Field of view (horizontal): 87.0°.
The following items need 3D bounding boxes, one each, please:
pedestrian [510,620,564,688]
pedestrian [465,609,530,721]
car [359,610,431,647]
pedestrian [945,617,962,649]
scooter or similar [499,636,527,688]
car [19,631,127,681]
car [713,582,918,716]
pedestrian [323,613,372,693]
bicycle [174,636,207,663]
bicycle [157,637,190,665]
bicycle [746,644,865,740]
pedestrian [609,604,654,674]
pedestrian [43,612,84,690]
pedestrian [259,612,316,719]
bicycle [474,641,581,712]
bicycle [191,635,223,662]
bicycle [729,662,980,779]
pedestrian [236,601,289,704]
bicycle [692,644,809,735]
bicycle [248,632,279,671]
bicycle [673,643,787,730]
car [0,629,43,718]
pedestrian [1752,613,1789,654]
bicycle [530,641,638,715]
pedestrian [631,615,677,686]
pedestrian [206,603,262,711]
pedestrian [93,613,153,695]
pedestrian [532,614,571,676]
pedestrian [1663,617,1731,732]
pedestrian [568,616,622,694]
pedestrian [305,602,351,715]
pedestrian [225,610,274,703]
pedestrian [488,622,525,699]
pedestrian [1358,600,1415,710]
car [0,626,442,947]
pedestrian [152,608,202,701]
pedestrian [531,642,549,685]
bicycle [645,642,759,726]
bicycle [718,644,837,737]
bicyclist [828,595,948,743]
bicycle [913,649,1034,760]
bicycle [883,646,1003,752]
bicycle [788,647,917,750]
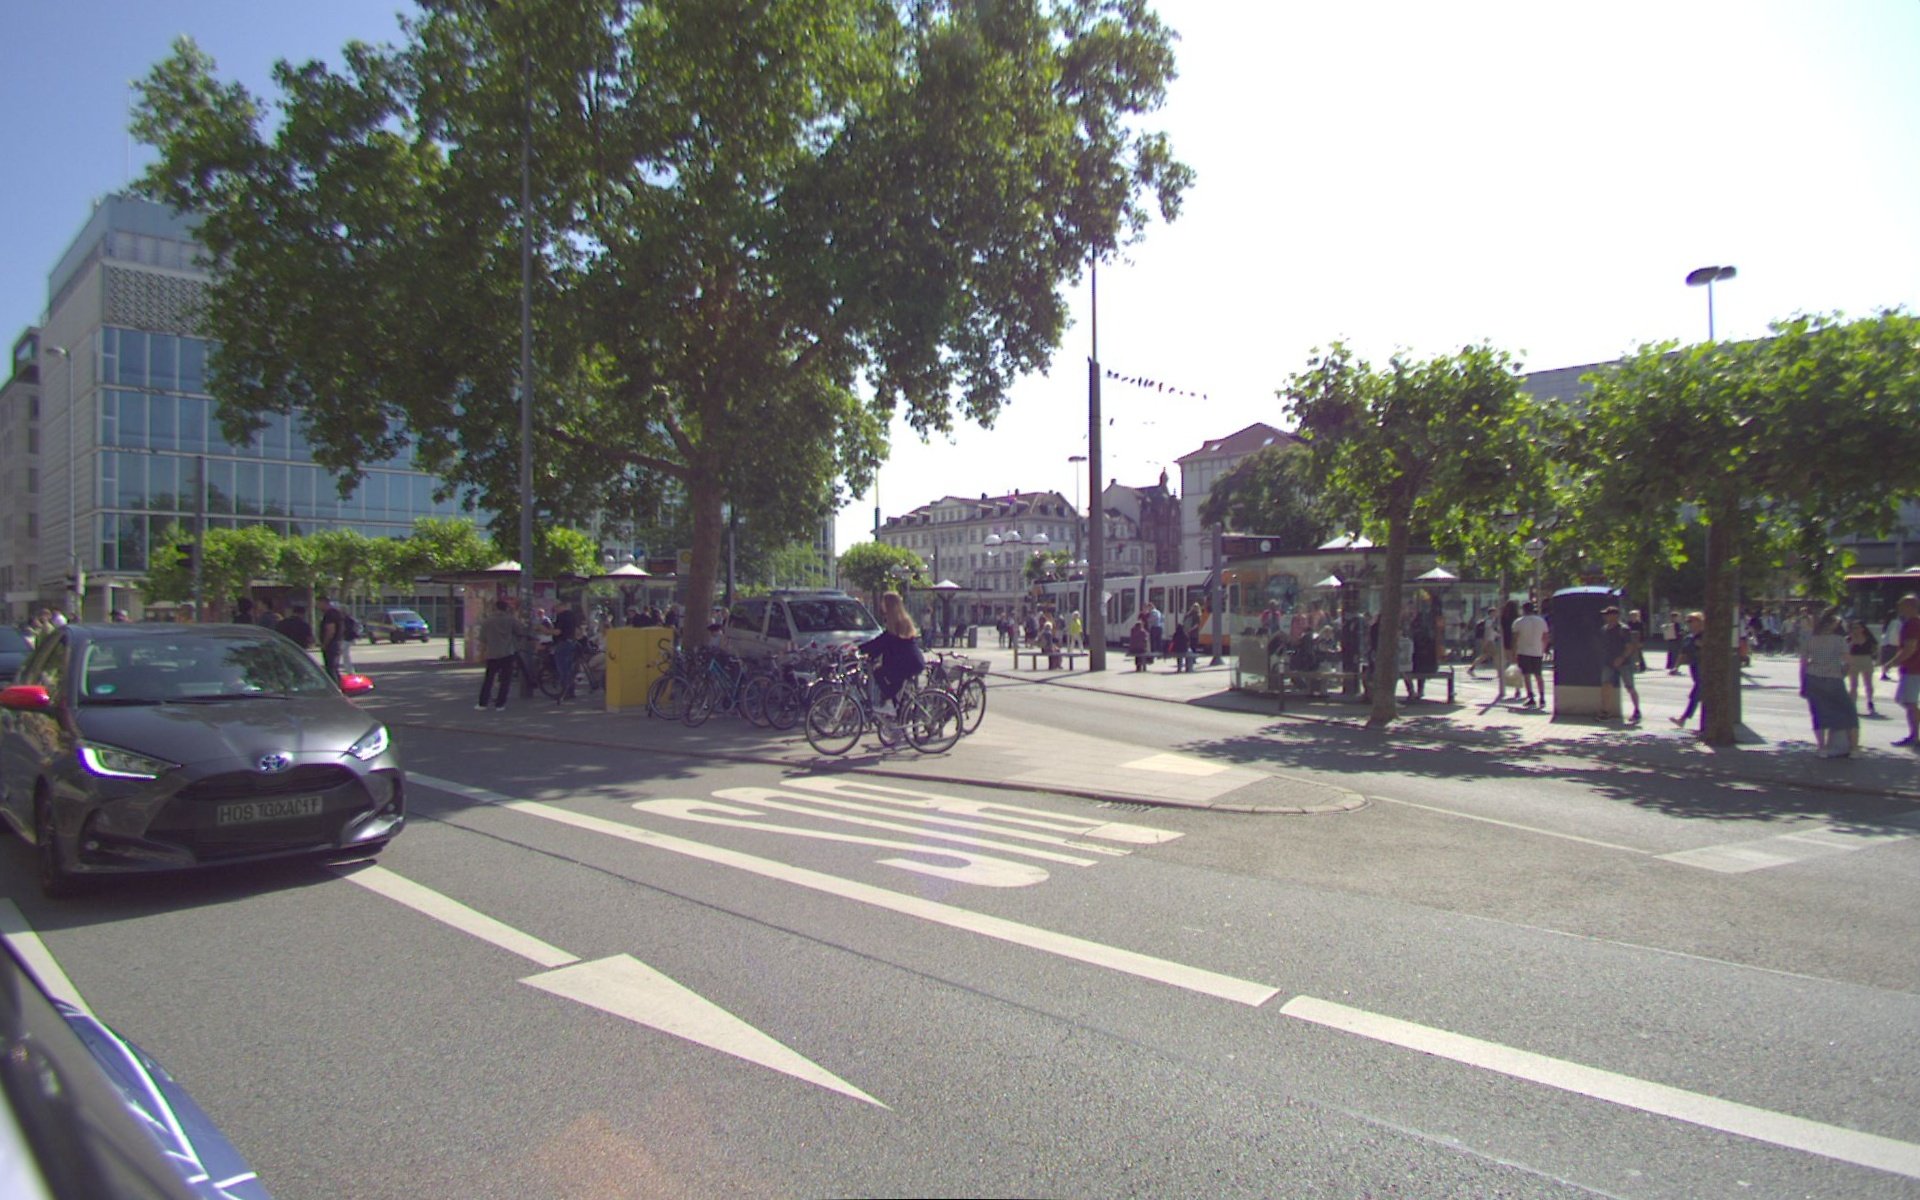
[{"bbox_3d":[-9.301,1.173,22.274,0.780,1.418,0.744,-1,0,30],"label":"pedestrian"},{"bbox_3d":[-7.285,1.007,15.953,0.639,1.704,0.637,-1,0,27],"label":"pedestrian"},{"bbox_3d":[-32.404,1.615,58.054,3.989,2.029,1.978,-1,0,34],"label":"car"},{"bbox_3d":[-0.313,1.545,47.205,0.547,1.483,0.532,-2,0,-42],"label":"pedestrian"},{"bbox_3d":[-10.323,1.420,23.365,0.559,1.128,0.540,-2,0,-23],"label":"scooter or similar"},{"bbox_3d":[-41.088,2.544,47.005,1.968,2.029,4.008,-2,0,-10],"label":"car"},{"bbox_3d":[-2.795,0.761,18.319,1.966,2.029,5.083,-2,0,-29],"label":"car"},{"bbox_3d":[-13.936,1.183,23.022,0.666,1.760,0.742,-1,0,39],"label":"pedestrian"},{"bbox_3d":[-33.519,2.156,44.073,1.753,1.156,0.586,-1,-1,33],"label":"bicycle"},{"bbox_3d":[-33.855,2.180,43.567,1.753,1.156,0.586,-1,-1,33],"label":"bicycle"},{"bbox_3d":[-2.061,1.207,13.705,0.482,1.156,1.736,-1,-1,38],"label":"bicycle"},{"bbox_3d":[-8.517,1.005,26.247,0.780,1.760,0.744,-1,0,30],"label":"pedestrian"},{"bbox_3d":[-22.832,1.295,25.781,0.732,1.928,0.631,-1,0,39],"label":"pedestrian"},{"bbox_3d":[-10.923,1.044,16.457,0.620,1.661,0.754,-2,0,-24],"label":"pedestrian"},{"bbox_3d":[-7.672,1.329,18.015,0.482,1.156,1.736,-1,-1,38],"label":"bicycle"},{"bbox_3d":[-33.191,2.119,44.608,1.753,1.156,0.586,-1,-1,33],"label":"bicycle"},{"bbox_3d":[-1.158,1.265,10.968,2.582,1.030,0.834,-2,0,-14],"label":"bicycle"},{"bbox_3d":[-12.898,0.958,18.708,0.738,1.860,0.587,-1,-2,39],"label":"pedestrian"},{"bbox_3d":[-2.955,1.240,14.449,0.482,1.156,1.736,-1,-1,38],"label":"bicycle"},{"bbox_3d":[-22.253,1.624,32.319,0.718,1.152,1.917,-2,0,-36],"label":"bicycle"},{"bbox_3d":[-3.359,1.234,14.915,0.482,1.156,1.736,-1,-1,38],"label":"bicycle"},{"bbox_3d":[-17.153,1.221,17.352,3.998,1.415,1.677,-1,-1,41],"label":"car"},{"bbox_3d":[31.503,1.316,39.350,0.840,1.561,0.677,0,-4,14],"label":"pedestrian"},{"bbox_3d":[-6.371,1.298,17.225,0.482,1.156,1.736,-1,-1,38],"label":"bicycle"},{"bbox_3d":[-7.761,1.270,25.706,0.780,1.760,0.744,-1,0,30],"label":"pedestrian"},{"bbox_3d":[-12.524,0.967,17.474,0.529,1.796,0.745,-2,0,-15],"label":"pedestrian"},{"bbox_3d":[-18.666,1.193,22.576,0.732,1.760,0.866,-1,0,39],"label":"pedestrian"},{"bbox_3d":[-11.980,1.304,29.659,0.782,1.760,0.742,-1,0,39],"label":"pedestrian"},{"bbox_3d":[10.262,1.027,14.096,0.680,1.536,0.616,-2,-5,40],"label":"pedestrian"},{"bbox_3d":[-7.843,1.163,21.745,0.780,1.608,0.744,-1,0,30],"label":"pedestrian"},{"bbox_3d":[-10.653,0.967,17.056,0.510,1.849,0.716,-2,0,-42],"label":"pedestrian"},{"bbox_3d":[-13.471,1.058,19.195,0.606,1.728,0.597,-1,-2,39],"label":"pedestrian"},{"bbox_3d":[-10.756,1.412,24.016,0.739,1.760,0.785,-2,0,-23],"label":"pedestrian"},{"bbox_3d":[7.223,0.931,17.162,0.671,1.808,0.625,1,-4,-2],"label":"pedestrian"},{"bbox_3d":[-5.227,0.925,6.697,3.996,1.486,1.759,-1,-2,40],"label":"car"},{"bbox_3d":[-15.228,1.046,19.681,0.752,1.760,0.605,-1,-1,39],"label":"pedestrian"},{"bbox_3d":[-9.777,1.482,23.565,0.334,0.974,0.282,-2,0,-19],"label":"pedestrian"},{"bbox_3d":[-3.886,1.243,15.364,0.482,1.156,1.736,-1,-1,38],"label":"bicycle"},{"bbox_3d":[-2.501,1.217,14.043,0.482,1.156,1.736,-1,-1,38],"label":"bicycle"},{"bbox_3d":[-0.807,0.717,11.055,1.141,1.509,0.834,-2,0,-14],"label":"bicyclist"},{"bbox_3d":[0.197,1.194,12.028,0.482,1.156,1.736,-1,-1,38],"label":"bicycle"},{"bbox_3d":[-0.176,1.166,12.370,0.482,1.156,1.736,-1,-1,38],"label":"bicycle"},{"bbox_3d":[-1.333,1.204,12.882,0.482,1.156,1.842,-1,-1,38],"label":"bicycle"}]
